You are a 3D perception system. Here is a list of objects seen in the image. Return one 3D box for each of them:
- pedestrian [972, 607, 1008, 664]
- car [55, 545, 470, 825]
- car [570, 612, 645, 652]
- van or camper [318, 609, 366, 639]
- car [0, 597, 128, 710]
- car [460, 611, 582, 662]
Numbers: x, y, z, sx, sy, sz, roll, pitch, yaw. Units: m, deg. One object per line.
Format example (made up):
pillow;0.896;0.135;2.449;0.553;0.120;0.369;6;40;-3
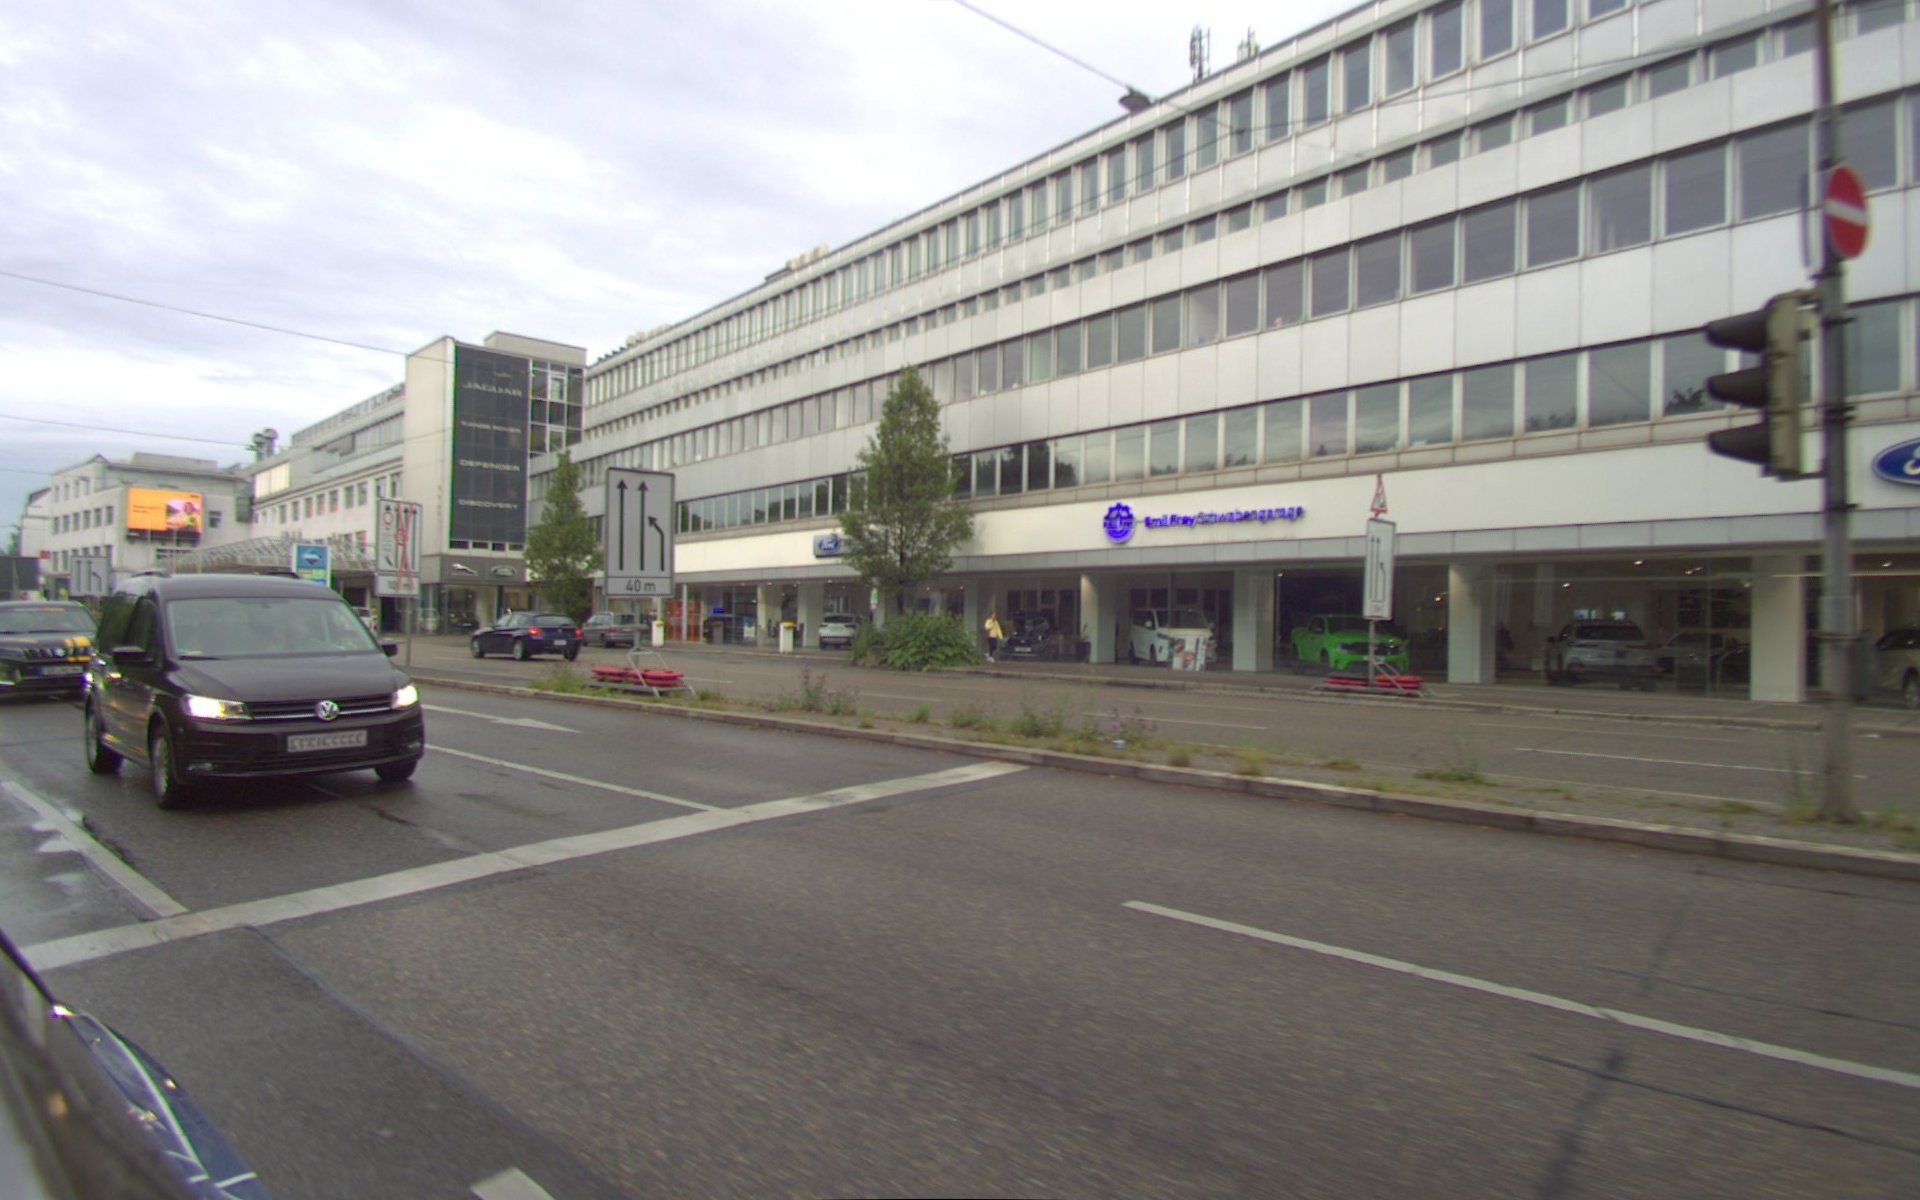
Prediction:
pedestrian;0.988;1.149;33.116;0.750;1.788;0.864;-2;1;-43
car;-6.188;0.547;8.762;4.428;1.828;1.881;-1;1;41
car;-17.530;1.537;50.230;1.896;1.829;4.167;-2;1;-45
van or camper;-42.732;1.652;69.957;1.902;1.944;4.258;-2;1;-44
car;-15.277;0.799;16.598;4.331;1.611;1.791;-1;1;41
car;-13.149;1.062;30.206;4.212;1.430;1.668;-1;-2;41
